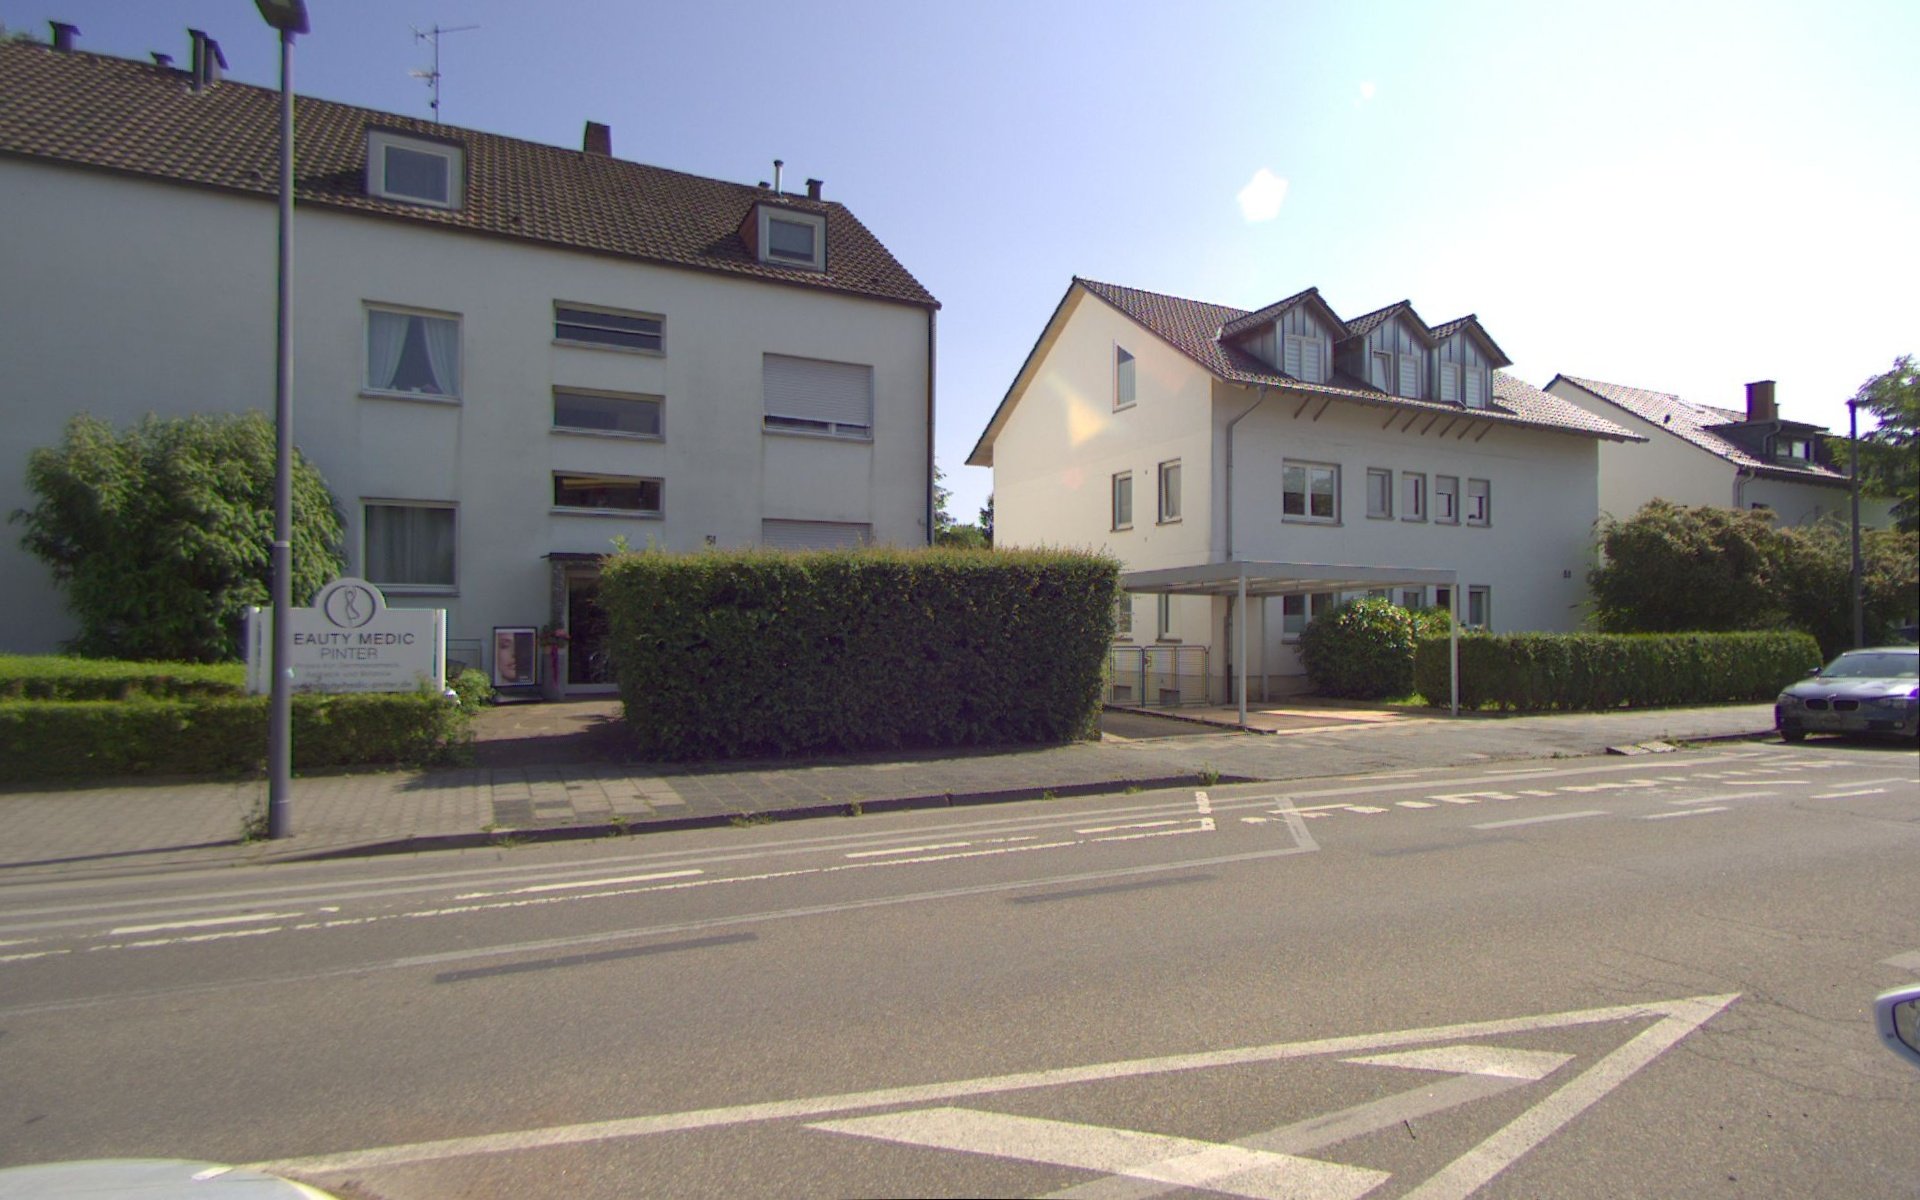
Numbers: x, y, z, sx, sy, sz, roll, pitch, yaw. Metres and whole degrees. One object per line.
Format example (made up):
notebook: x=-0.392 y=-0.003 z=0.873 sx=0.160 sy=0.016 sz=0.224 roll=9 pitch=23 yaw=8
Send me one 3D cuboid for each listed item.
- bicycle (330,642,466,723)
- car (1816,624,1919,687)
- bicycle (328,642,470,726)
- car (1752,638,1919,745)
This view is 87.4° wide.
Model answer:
bicycle: x=-6.581 y=0.956 z=11.799 sx=1.355 sy=0.885 sz=0.331 roll=2 pitch=2 yaw=-32
car: x=28.061 y=1.627 z=29.515 sx=1.973 sy=1.782 sz=3.975 roll=1 pitch=-1 yaw=-25
bicycle: x=-6.340 y=0.943 z=11.381 sx=1.355 sy=0.885 sz=0.331 roll=2 pitch=2 yaw=-32
car: x=14.220 y=1.336 z=15.445 sx=4.105 sy=1.459 sz=1.778 roll=2 pitch=-3 yaw=-29
